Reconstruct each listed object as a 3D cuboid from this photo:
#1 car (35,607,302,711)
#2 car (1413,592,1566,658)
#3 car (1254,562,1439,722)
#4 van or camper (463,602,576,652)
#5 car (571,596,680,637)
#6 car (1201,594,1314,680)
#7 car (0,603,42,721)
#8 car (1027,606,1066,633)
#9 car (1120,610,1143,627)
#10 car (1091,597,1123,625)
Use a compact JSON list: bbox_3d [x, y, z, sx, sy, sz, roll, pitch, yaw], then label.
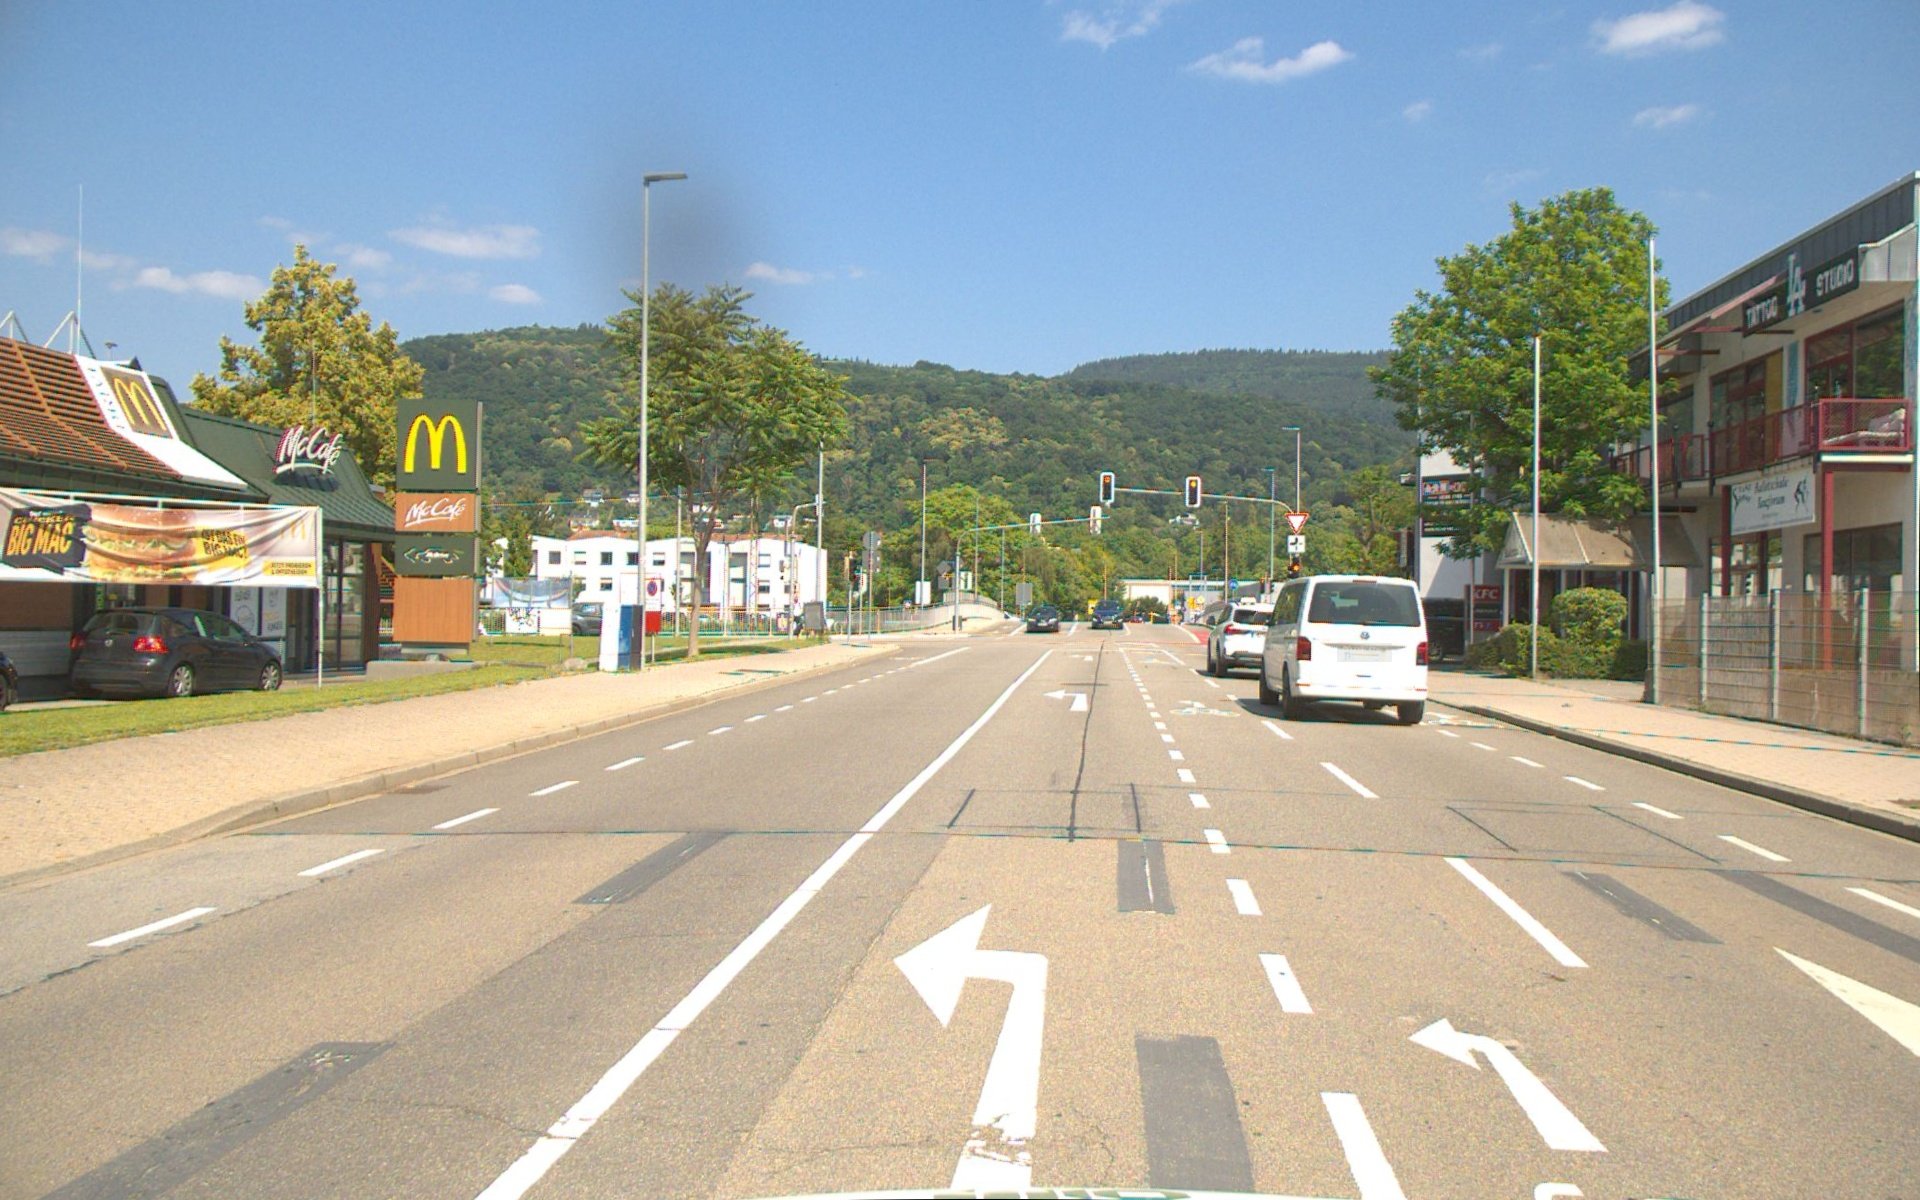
[{"bbox_3d":[-12.763,0.896,26.988,1.951,1.441,4.132,3,0,7],"label":"car"},{"bbox_3d":[14.851,0.678,46.575,3.902,1.806,2.002,0,0,11],"label":"car"},{"bbox_3d":[5.506,0.542,24.102,1.894,2.095,4.546,0,0,4],"label":"car"},{"bbox_3d":[-16.412,0.998,61.807,3.918,1.601,1.994,3,0,-13],"label":"van or camper"},{"bbox_3d":[-13.620,0.667,67.613,4.234,1.620,1.996,0,0,-8],"label":"car"},{"bbox_3d":[6.570,0.781,36.924,1.894,1.716,4.546,3,0,3],"label":"car"},{"bbox_3d":[-13.405,0.786,20.167,1.789,1.502,4.322,3,0,3],"label":"car"},{"bbox_3d":[4.783,1.049,91.040,1.951,1.394,4.329,0,0,6],"label":"car"},{"bbox_3d":[17.600,1.856,169.738,1.952,1.556,4.045,3,0,1],"label":"car"},{"bbox_3d":[8.632,0.613,97.067,1.810,1.616,4.002,0,0,5],"label":"car"}]
